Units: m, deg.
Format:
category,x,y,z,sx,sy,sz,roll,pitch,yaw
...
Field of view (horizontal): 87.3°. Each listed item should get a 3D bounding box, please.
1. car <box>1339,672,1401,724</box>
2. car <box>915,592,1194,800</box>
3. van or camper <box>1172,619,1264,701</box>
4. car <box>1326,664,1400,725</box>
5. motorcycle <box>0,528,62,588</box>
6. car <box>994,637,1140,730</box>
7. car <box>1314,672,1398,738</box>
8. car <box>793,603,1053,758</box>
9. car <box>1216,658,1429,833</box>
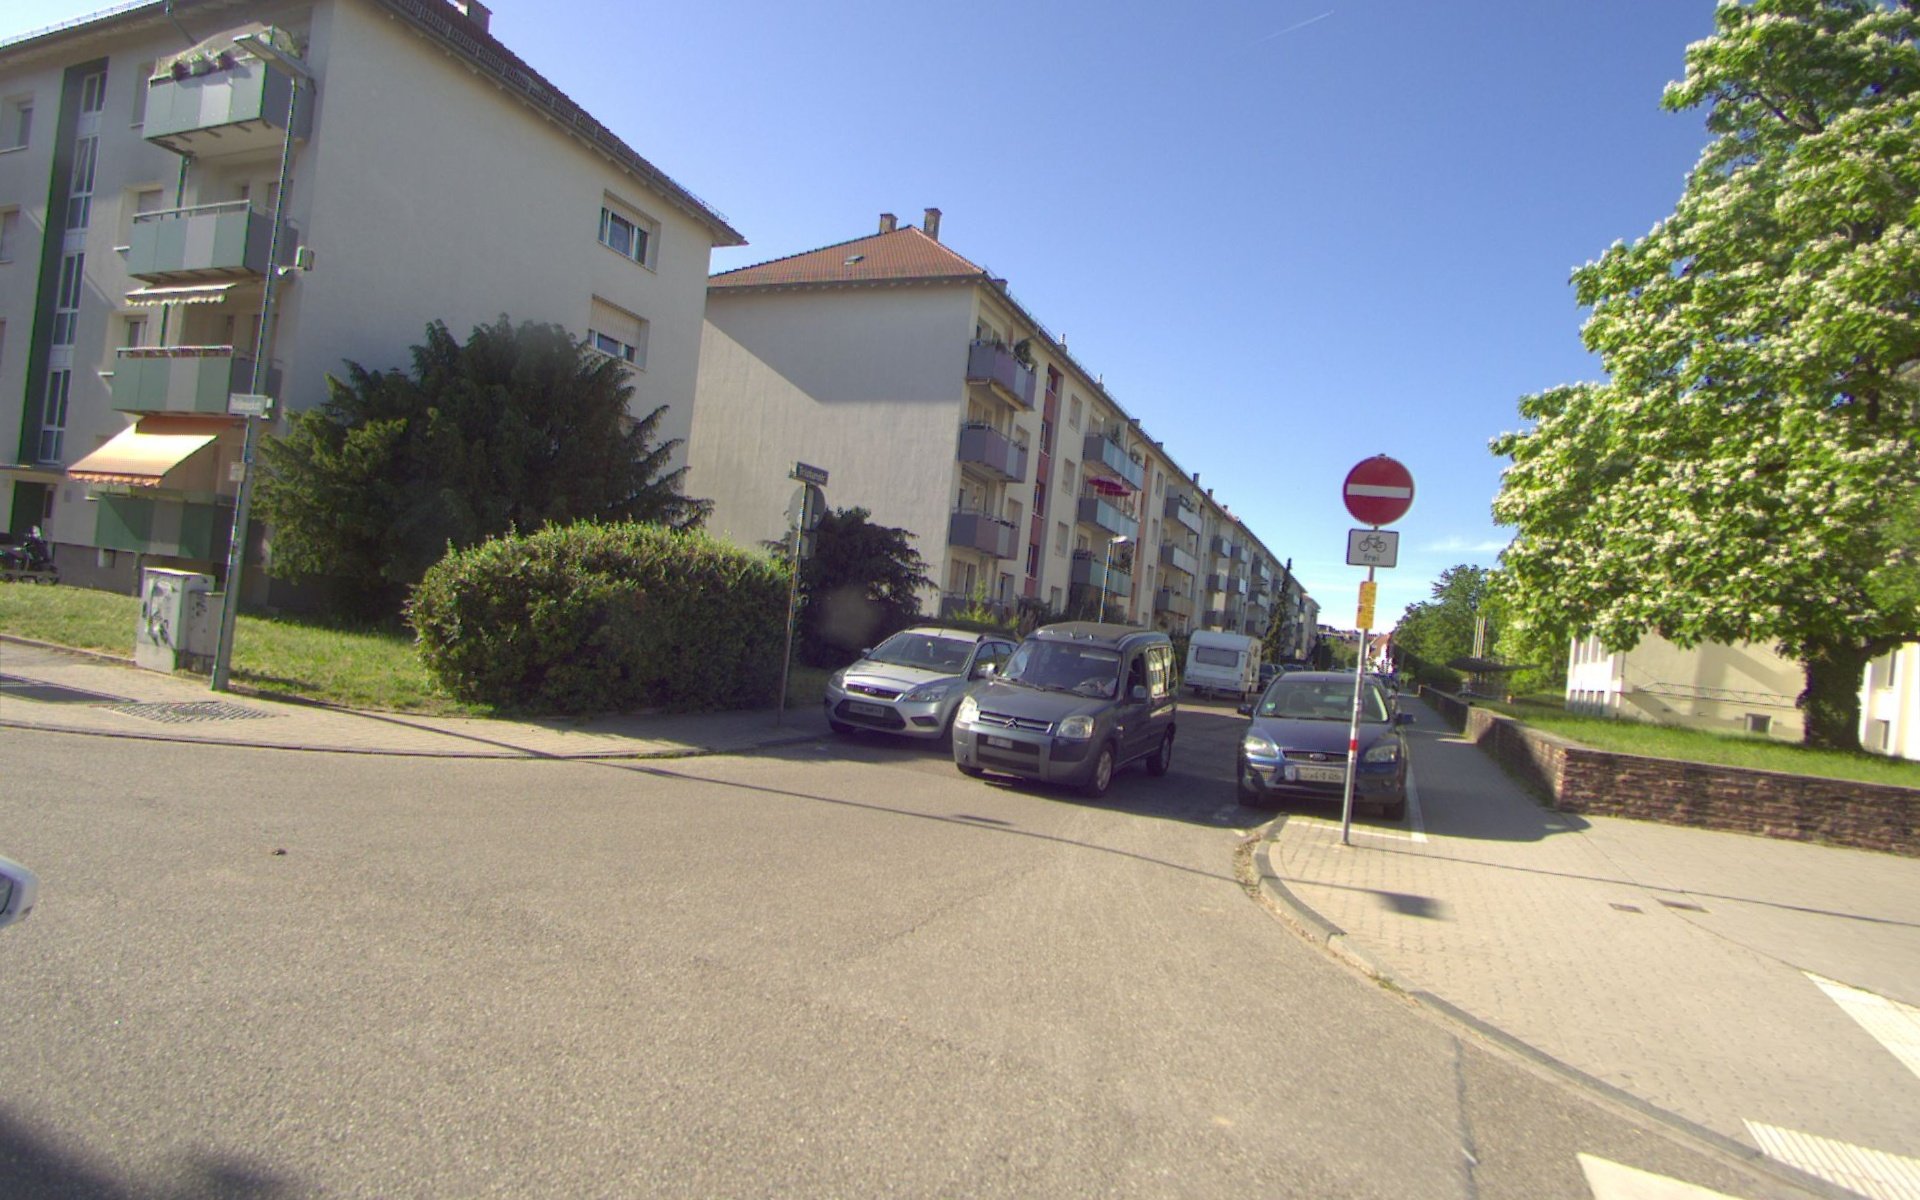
category,x,y,z,sx,sy,sz,roll,pitch,yaw
car,15.418,3.640,37.754,1.897,1.601,4.561,6,-2,24
car,1.311,1.062,11.756,1.870,1.811,4.157,6,-2,24
van or camper,9.701,2.267,37.476,2.430,2.567,5.245,6,-2,22
car,13.351,3.074,33.154,1.964,1.647,4.561,6,-2,24
motorcycle,-20.615,-0.956,21.843,1.999,1.165,0.585,5,-1,15
car,2.292,1.685,20.515,1.790,1.529,3.984,6,-2,23
car,10.629,2.732,26.833,1.867,1.497,4.161,2,-3,24
car,-0.295,1.107,14.119,1.879,1.642,4.422,6,-2,22
car,4.408,1.581,12.113,1.872,1.491,4.562,5,-2,22
